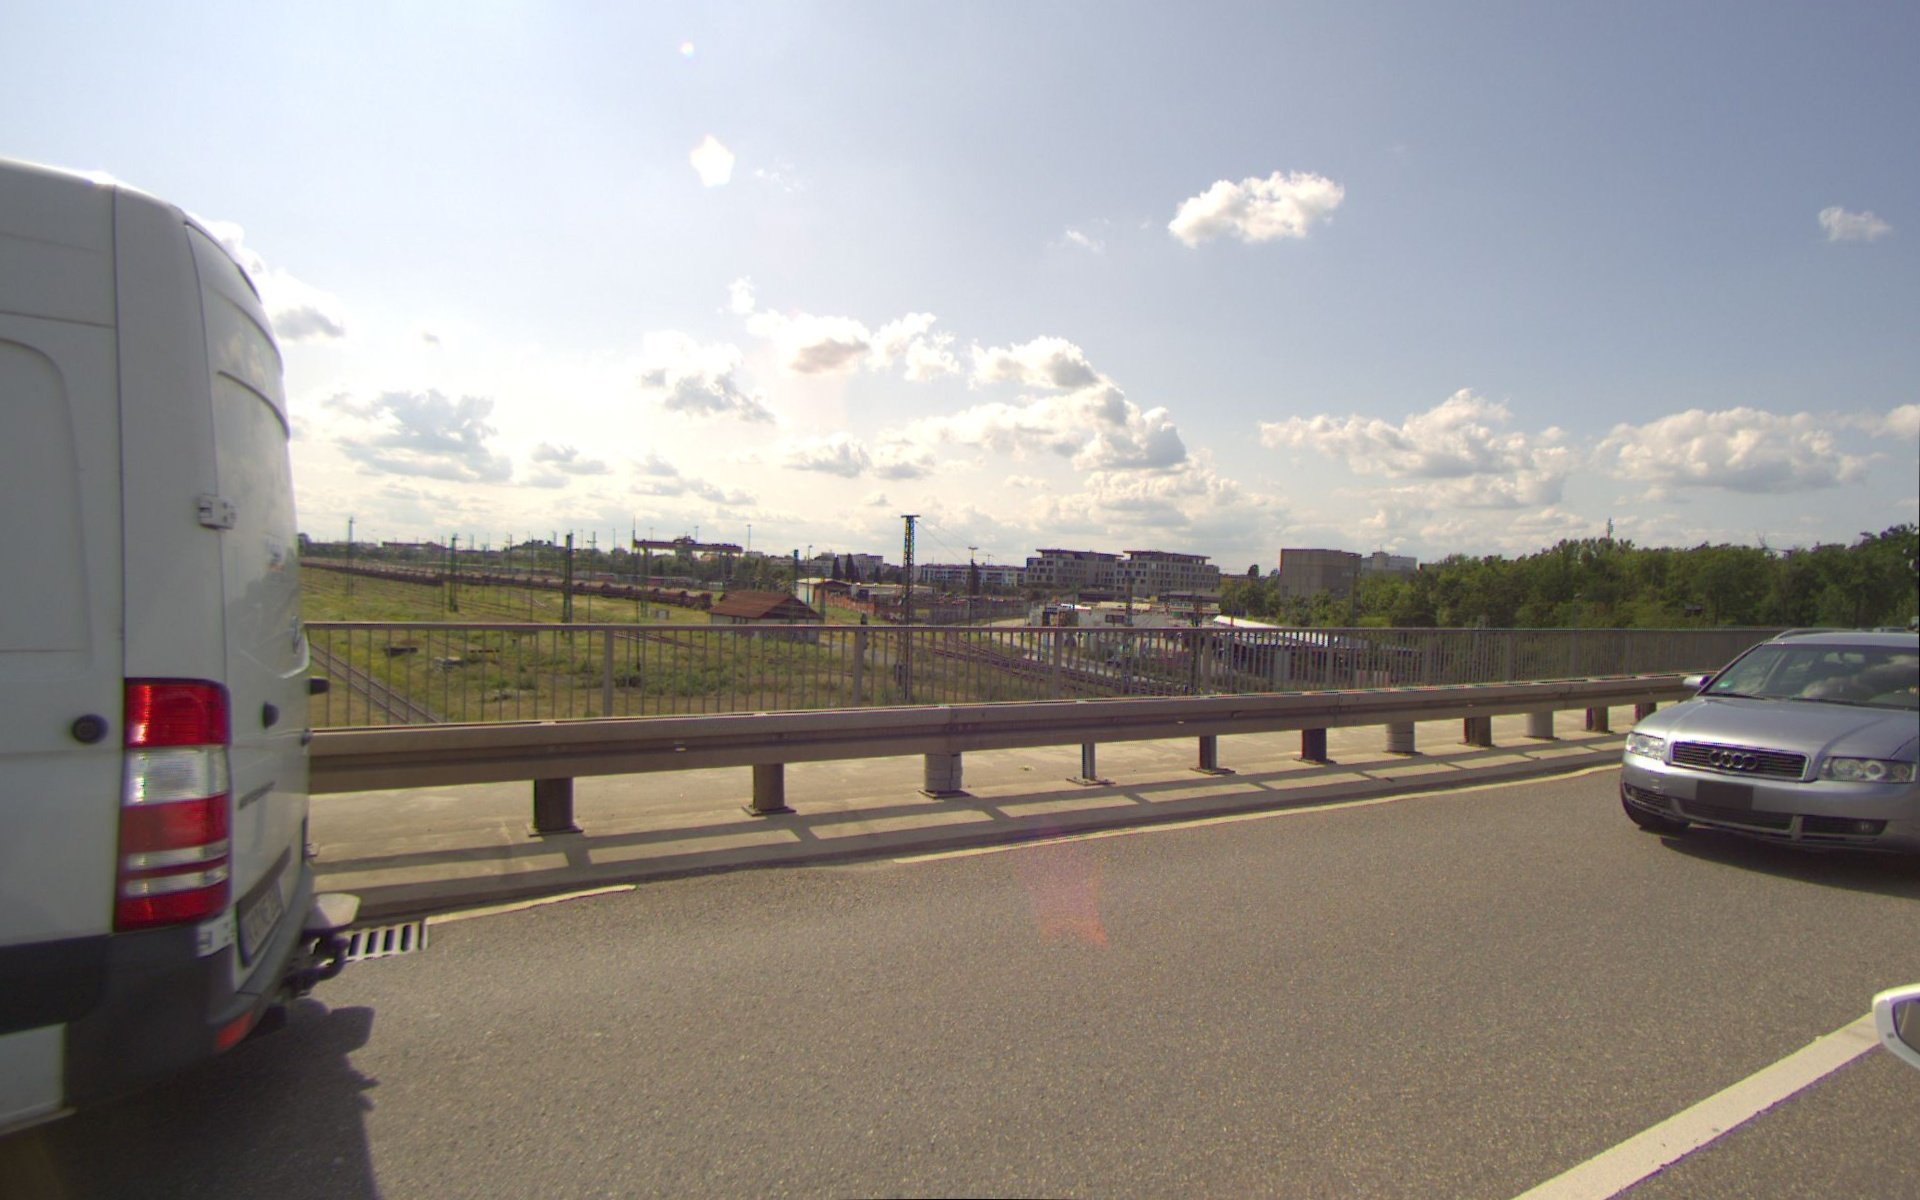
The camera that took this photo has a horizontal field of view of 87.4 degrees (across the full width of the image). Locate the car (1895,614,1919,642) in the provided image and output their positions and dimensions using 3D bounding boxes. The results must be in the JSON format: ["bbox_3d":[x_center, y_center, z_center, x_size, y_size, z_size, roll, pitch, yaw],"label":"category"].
[{"bbox_3d":[50.543,1.483,52.725,1.854,1.420,3.869,0,-1,39],"label":"car"}]

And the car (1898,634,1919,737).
[{"bbox_3d":[14.823,1.194,14.226,4.215,1.362,1.620,2,-2,-38],"label":"car"}]

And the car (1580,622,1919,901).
[{"bbox_3d":[6.486,0.934,7.223,4.250,1.479,1.757,2,-2,-32],"label":"car"}]

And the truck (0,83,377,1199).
[{"bbox_3d":[-4.548,0.113,1.891,5.876,2.541,1.984,1,-1,-30],"label":"truck"}]
